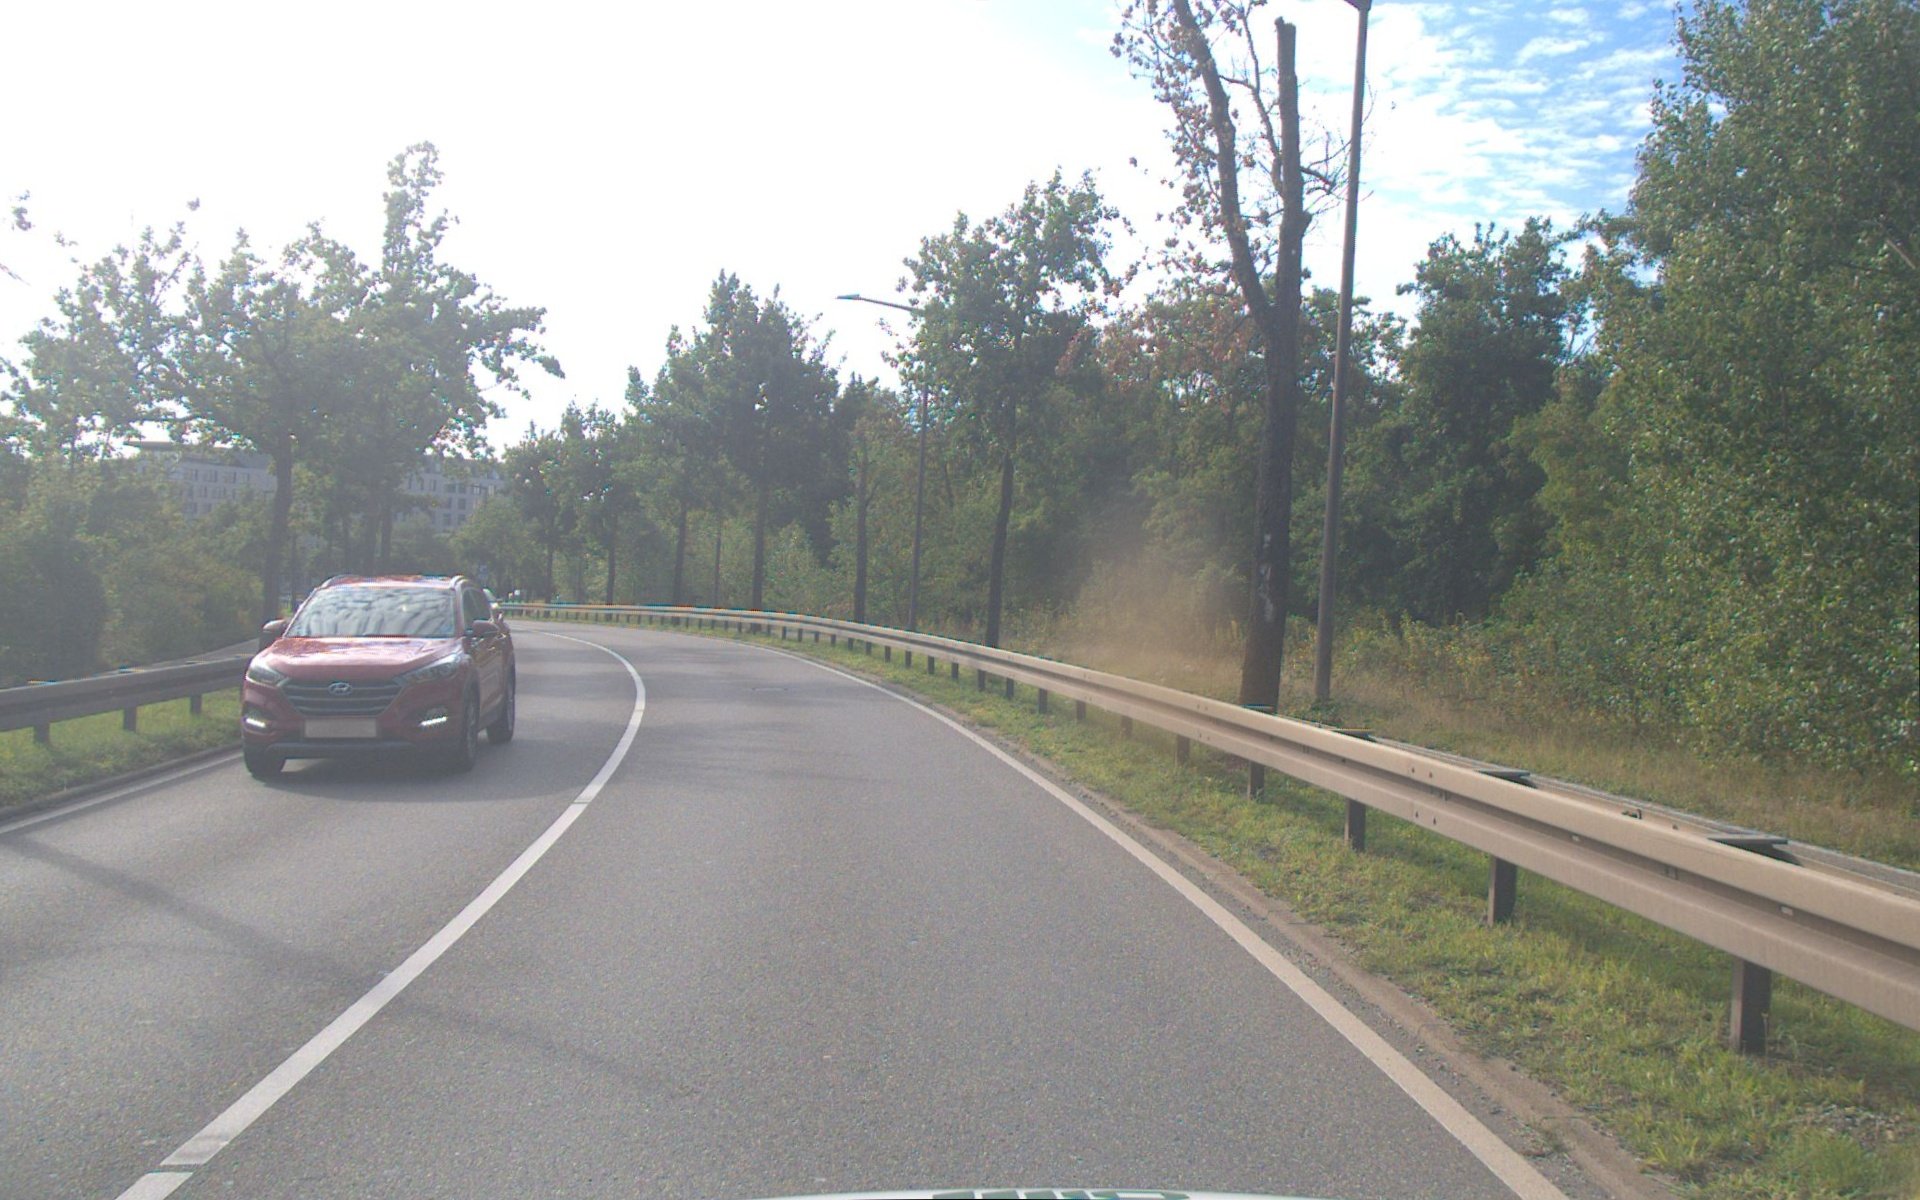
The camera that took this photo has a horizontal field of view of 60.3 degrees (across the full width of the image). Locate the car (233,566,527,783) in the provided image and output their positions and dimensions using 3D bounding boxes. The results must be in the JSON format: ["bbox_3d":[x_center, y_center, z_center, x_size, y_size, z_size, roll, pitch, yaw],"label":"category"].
[{"bbox_3d":[-5.138,0.573,15.229,1.775,1.703,4.289,1,0,-9],"label":"car"}]

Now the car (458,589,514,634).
[{"bbox_3d":[-16.094,0.354,56.108,1.771,1.450,3.854,0,1,-17],"label":"car"}]
